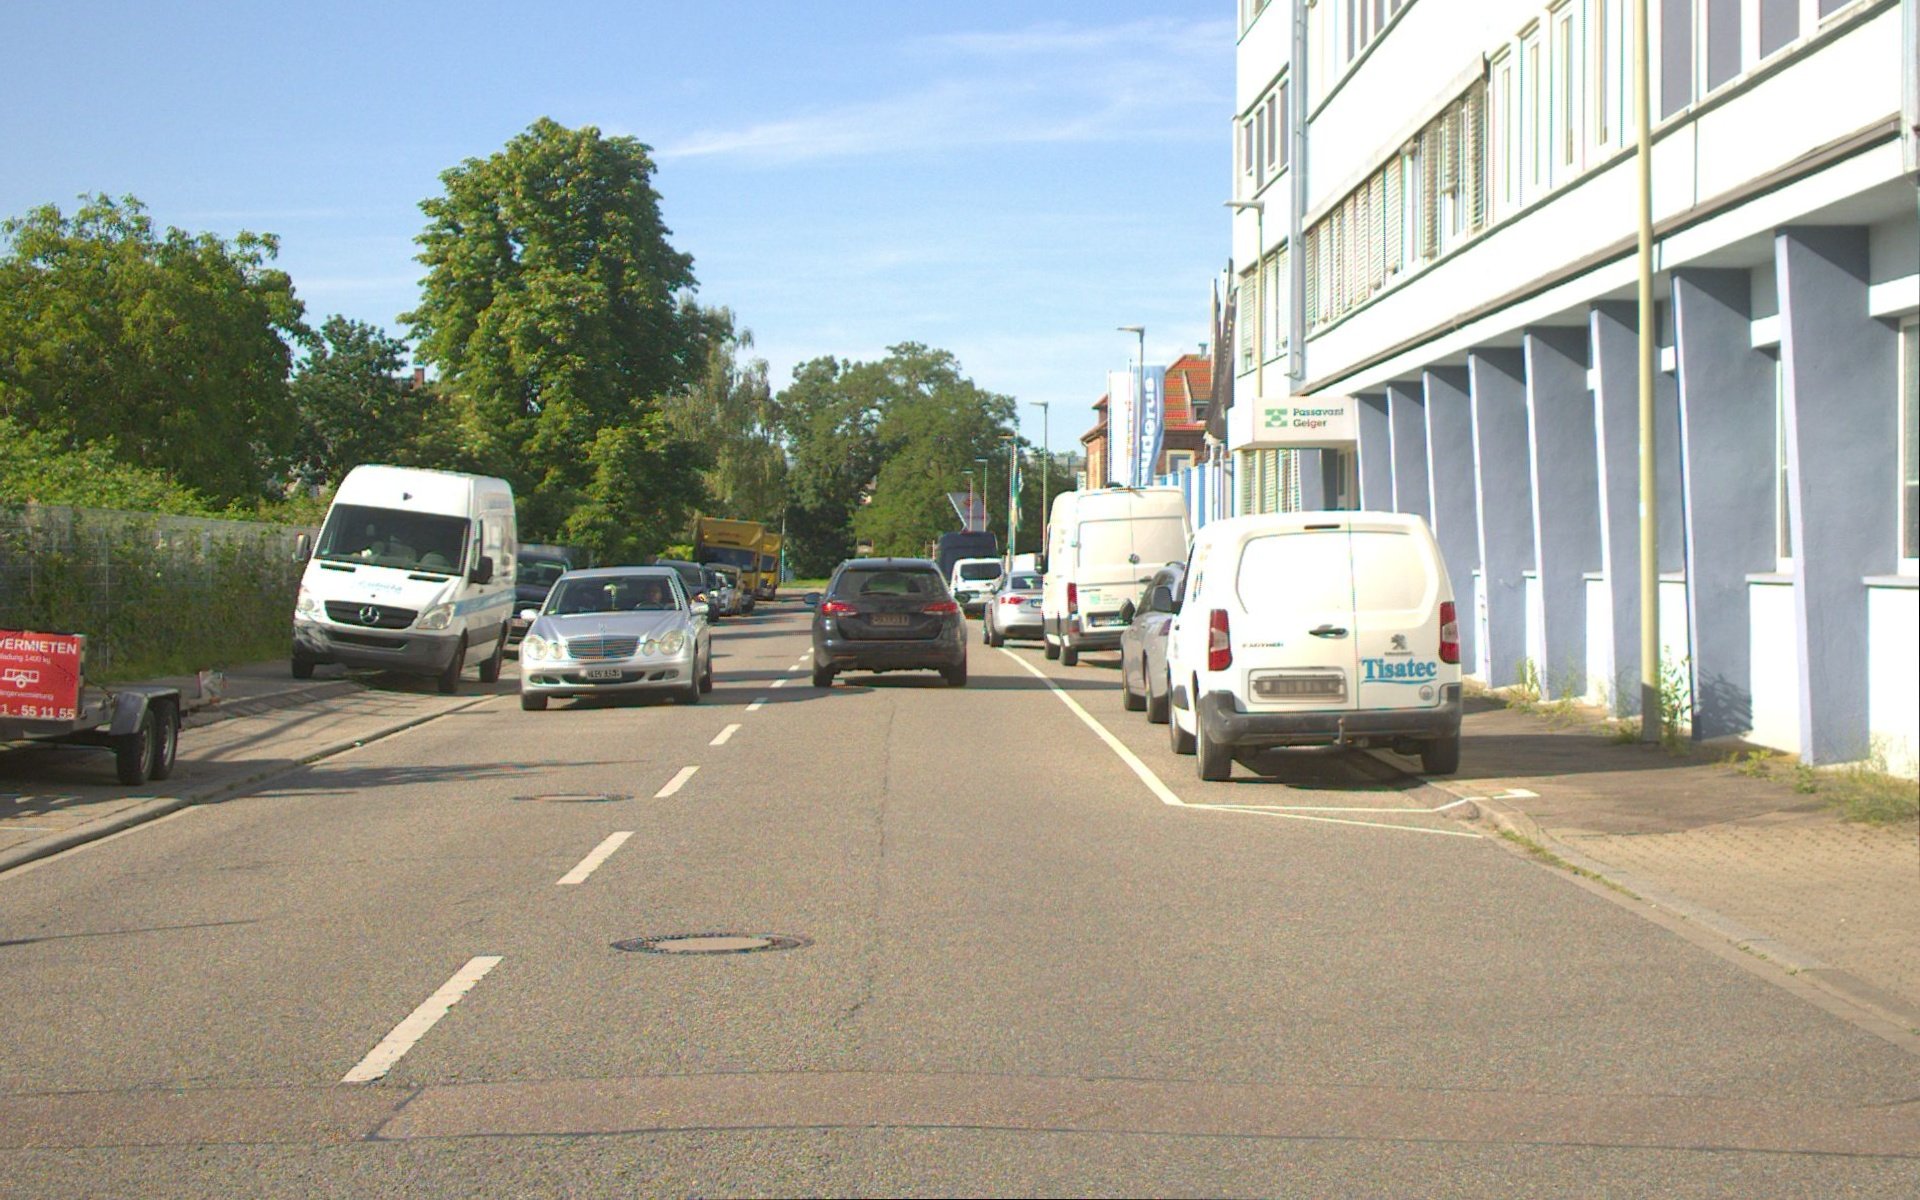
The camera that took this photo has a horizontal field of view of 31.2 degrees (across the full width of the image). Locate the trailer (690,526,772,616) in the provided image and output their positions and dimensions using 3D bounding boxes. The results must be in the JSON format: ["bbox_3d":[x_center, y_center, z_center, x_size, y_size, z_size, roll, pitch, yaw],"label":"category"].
[{"bbox_3d":[-8.990,-1.127,135.765,2.991,3.431,8.162,0,0,-2],"label":"trailer"}]

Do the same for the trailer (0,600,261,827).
[{"bbox_3d":[-6.576,0.663,23.585,2.376,1.076,6.246,4,1,-2],"label":"trailer"}]

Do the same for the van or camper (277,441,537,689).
[{"bbox_3d":[-6.727,-0.430,42.507,1.966,2.676,5.947,5,1,1],"label":"van or camper"}]

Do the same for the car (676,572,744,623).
[{"bbox_3d":[-8.638,-0.092,118.935,1.908,1.588,5.025,5,0,-1],"label":"car"}]

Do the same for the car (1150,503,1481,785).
[{"bbox_3d":[2.474,0.271,25.134,1.889,1.826,5.090,1,0,0],"label":"car"}]

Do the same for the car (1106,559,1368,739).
[{"bbox_3d":[2.552,0.415,32.847,1.889,1.555,5.091,1,0,-2],"label":"car"}]

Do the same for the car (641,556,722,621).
[{"bbox_3d":[-7.601,-0.329,94.169,1.791,1.725,4.802,0,1,1],"label":"car"}]

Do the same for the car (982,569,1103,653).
[{"bbox_3d":[1.451,0.192,62.531,1.894,1.400,5.124,2,0,-2],"label":"car"}]

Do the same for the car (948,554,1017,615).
[{"bbox_3d":[0.670,-0.459,106.878,1.885,1.791,5.104,2,0,-2],"label":"car"}]

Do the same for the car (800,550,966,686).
[{"bbox_3d":[-0.877,0.181,40.336,1.847,1.525,4.000,0,1,0],"label":"car"}]

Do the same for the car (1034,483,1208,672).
[{"bbox_3d":[2.317,-0.380,51.014,1.993,2.589,6.052,-1,1,-2],"label":"car"}]

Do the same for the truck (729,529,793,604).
[{"bbox_3d":[-10.356,-1.810,179.345,2.631,3.493,8.657,6,1,-1],"label":"truck"}]

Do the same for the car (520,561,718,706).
[{"bbox_3d":[-3.596,0.315,36.883,1.747,1.442,4.361,1,1,-1],"label":"car"}]

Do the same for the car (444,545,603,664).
[{"bbox_3d":[-6.979,0.044,55.440,2.030,1.688,5.107,4,0,-3],"label":"car"}]

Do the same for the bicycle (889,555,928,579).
[{"bbox_3d":[-2.772,-1.778,184.219,0.804,1.264,2.258,2,0,-40],"label":"bicycle"}]
